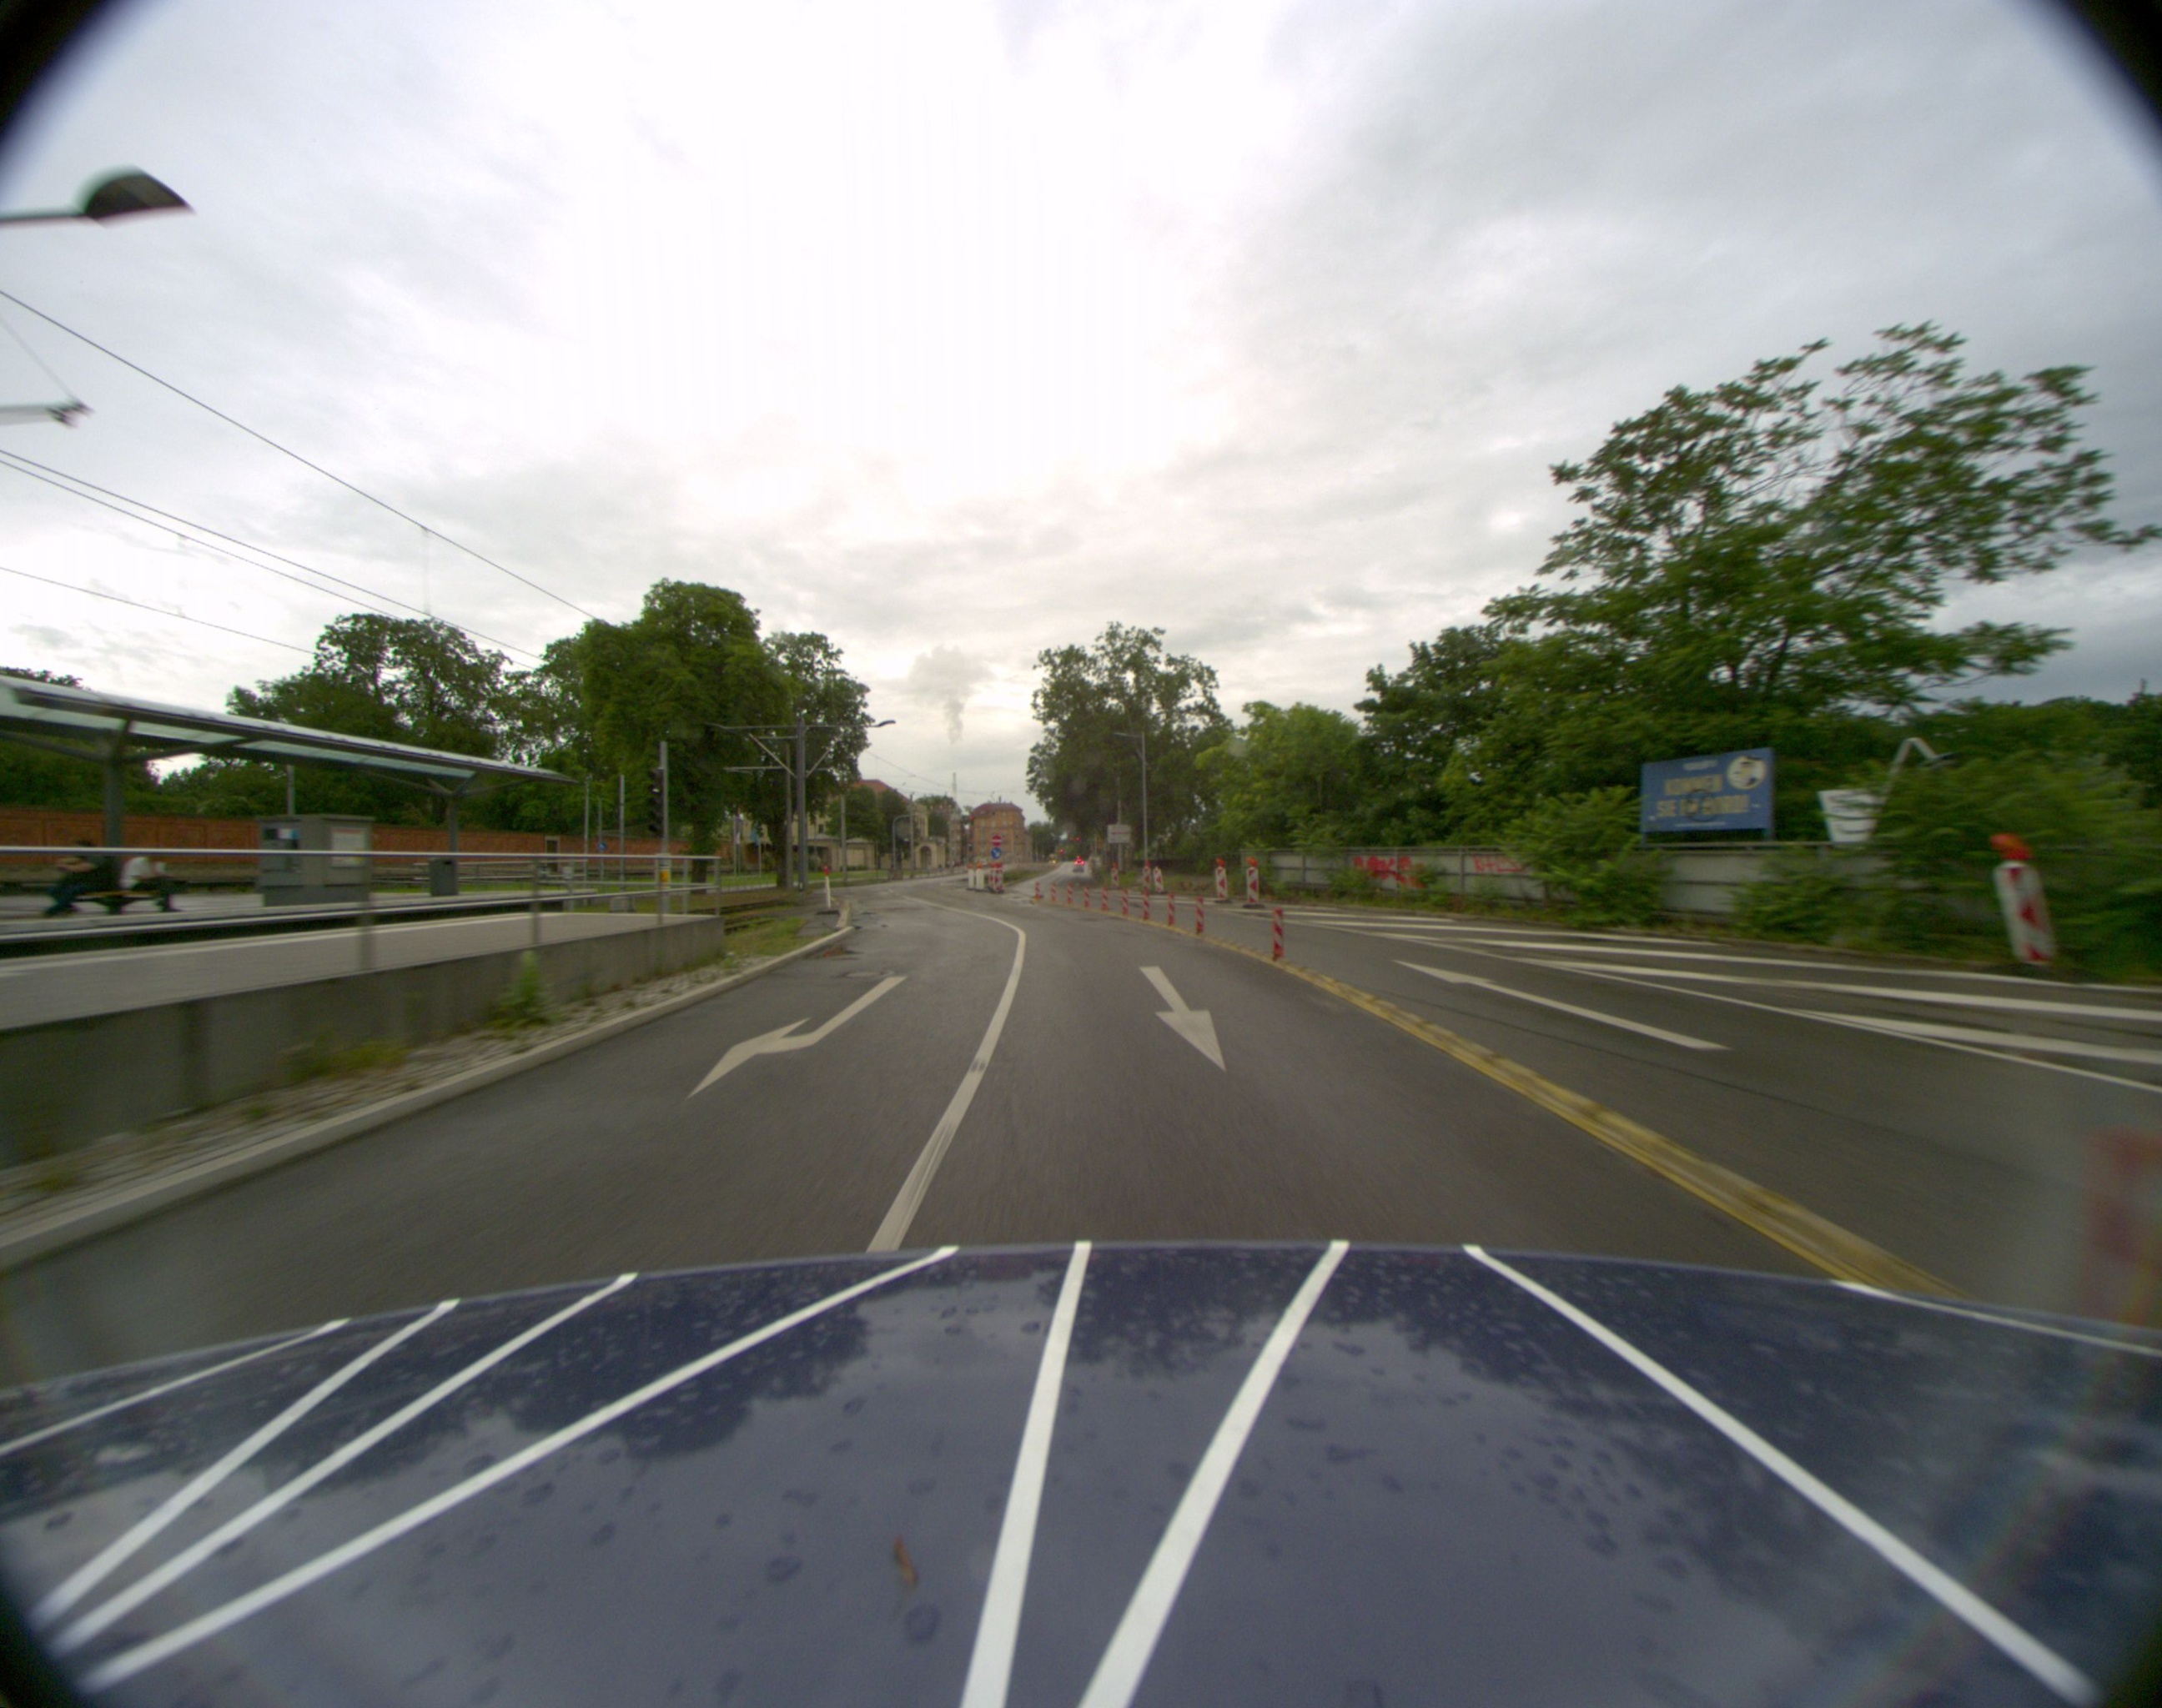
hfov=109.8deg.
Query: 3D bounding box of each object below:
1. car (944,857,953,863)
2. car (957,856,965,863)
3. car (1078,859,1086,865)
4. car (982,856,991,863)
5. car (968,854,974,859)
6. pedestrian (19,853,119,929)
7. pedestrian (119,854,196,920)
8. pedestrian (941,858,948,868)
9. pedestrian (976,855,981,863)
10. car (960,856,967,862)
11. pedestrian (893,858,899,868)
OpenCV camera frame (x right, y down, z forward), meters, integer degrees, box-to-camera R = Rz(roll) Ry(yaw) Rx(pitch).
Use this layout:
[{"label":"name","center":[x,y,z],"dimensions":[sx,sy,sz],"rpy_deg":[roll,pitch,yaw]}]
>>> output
[{"label":"car","center":[-33.965,1.523,194.534],"dimensions":[1.865,1.539,4.063],"rpy_deg":[-2,1,-7]},{"label":"car","center":[-30.759,1.434,194.608],"dimensions":[1.831,1.573,3.997],"rpy_deg":[0,1,-6]},{"label":"car","center":[0.217,1.706,162.915],"dimensions":[1.751,1.421,4.560],"rpy_deg":[1,0,0]},{"label":"car","center":[-21.878,1.264,176.185],"dimensions":[1.844,1.630,4.140],"rpy_deg":[-4,1,-5]},{"label":"car","center":[-35.592,0.917,246.192],"dimensions":[1.831,1.573,3.997],"rpy_deg":[0,1,-6]},{"label":"pedestrian","center":[-17.141,0.612,12.891],"dimensions":[0.520,1.206,0.782],"rpy_deg":[-5,2,-4]},{"label":"pedestrian","center":[-16.524,0.579,13.607],"dimensions":[0.602,1.112,0.519],"rpy_deg":[-5,1,-16]},{"label":"pedestrian","center":[-22.878,1.537,127.634],"dimensions":[0.863,1.581,0.669],"rpy_deg":[1,0,26]},{"label":"pedestrian","center":[-24.653,1.129,182.505],"dimensions":[0.783,1.796,0.696],"rpy_deg":[-3,2,-41]},{"label":"car","center":[-31.733,1.224,205.437],"dimensions":[1.831,1.573,3.997],"rpy_deg":[0,1,-6]},{"label":"pedestrian","center":[-31.587,1.589,129.669],"dimensions":[0.730,1.701,0.981],"rpy_deg":[0,1,1]}]
